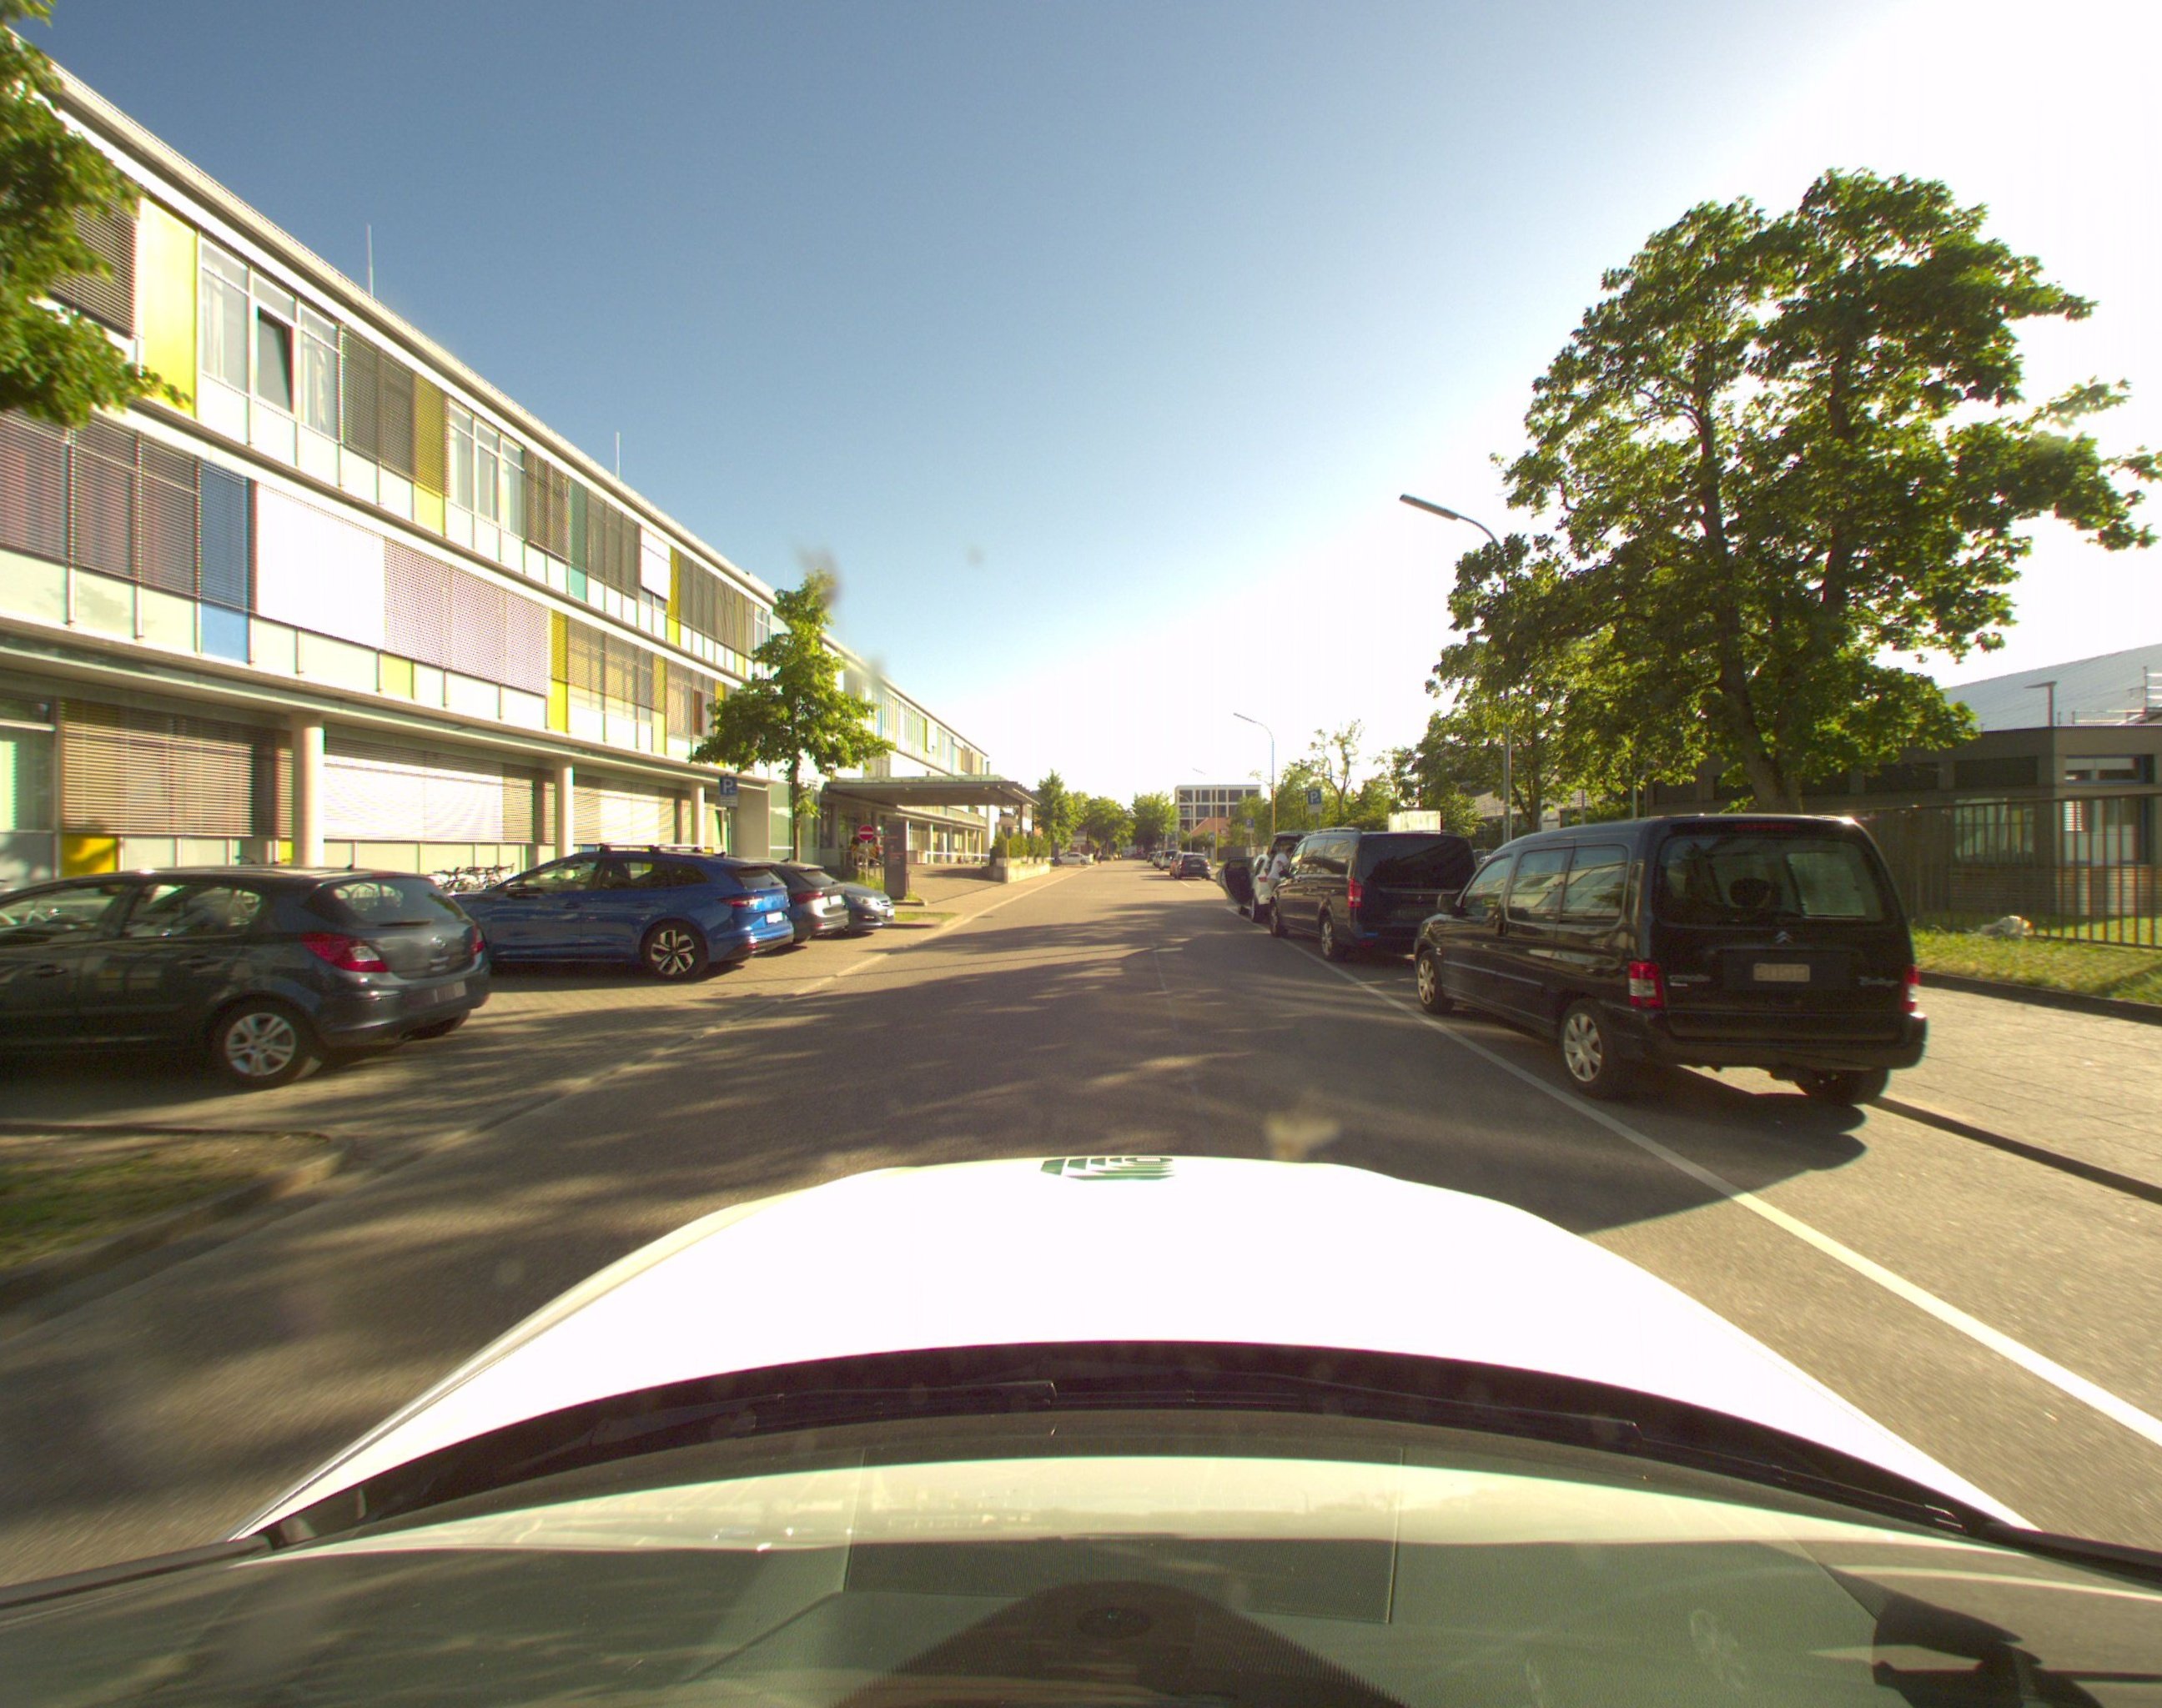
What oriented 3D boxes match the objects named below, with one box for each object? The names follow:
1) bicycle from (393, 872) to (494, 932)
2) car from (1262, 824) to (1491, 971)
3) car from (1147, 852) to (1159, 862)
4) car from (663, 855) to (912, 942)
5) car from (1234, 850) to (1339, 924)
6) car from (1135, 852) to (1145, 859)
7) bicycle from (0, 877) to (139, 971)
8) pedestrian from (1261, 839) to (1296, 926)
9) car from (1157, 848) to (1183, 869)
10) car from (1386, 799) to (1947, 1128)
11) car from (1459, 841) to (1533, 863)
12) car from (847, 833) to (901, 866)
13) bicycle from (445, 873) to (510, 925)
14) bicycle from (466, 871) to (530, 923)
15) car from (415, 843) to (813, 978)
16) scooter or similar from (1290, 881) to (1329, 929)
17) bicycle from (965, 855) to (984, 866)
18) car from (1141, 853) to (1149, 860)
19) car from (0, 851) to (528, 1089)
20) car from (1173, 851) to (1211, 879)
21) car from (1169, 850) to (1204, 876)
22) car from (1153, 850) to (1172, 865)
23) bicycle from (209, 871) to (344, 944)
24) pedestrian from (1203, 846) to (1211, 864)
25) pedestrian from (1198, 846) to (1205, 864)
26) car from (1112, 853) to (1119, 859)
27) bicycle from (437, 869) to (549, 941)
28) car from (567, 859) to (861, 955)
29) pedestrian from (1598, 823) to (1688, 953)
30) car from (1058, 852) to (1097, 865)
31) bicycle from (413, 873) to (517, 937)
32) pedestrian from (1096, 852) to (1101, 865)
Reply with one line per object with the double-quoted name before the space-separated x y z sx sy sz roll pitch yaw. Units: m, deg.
"bicycle" -12.093 0.885 15.524 0.445 1.015 1.781 -1 0 2
"car" 4.405 0.552 13.107 1.858 1.869 5.022 1 0 0
"car" 10.498 0.412 119.009 1.809 1.453 4.219 -1 0 4
"car" -5.572 0.815 15.808 4.115 1.466 1.754 -2 0 1
"car" 4.706 0.678 19.171 1.657 1.513 4.118 1 0 4
"car" 12.342 0.326 170.336 1.760 1.548 4.068 -1 0 2
"bicycle" -13.493 0.884 10.432 0.644 1.096 1.857 -1 0 2
"pedestrian" 4.072 0.573 16.762 0.583 1.745 0.708 1 0 21
"car" 7.449 0.364 68.422 1.802 1.722 4.707 1 0 2
"car" 4.065 0.597 6.695 1.694 1.794 4.298 1 0 3
"car" 26.563 -0.148 52.219 3.876 1.379 1.675 -1 0 0
"car" -12.676 -0.292 50.159 1.911 1.891 4.715 -1 0 3
"bicycle" -12.719 0.926 17.201 0.351 1.022 1.396 -1 0 -2
"bicycle" -12.291 0.887 17.205 0.351 1.022 1.396 -1 0 -2
"car" -6.052 0.688 10.979 4.206 1.651 1.960 0 0 0
"scooter or similar" 4.645 1.029 16.534 0.685 0.906 0.708 1 0 21
"bicycle" -9.903 0.618 75.877 1.708 0.994 0.536 -1 0 2
"car" 16.423 0.615 209.214 1.942 1.578 3.841 0 0 4
"car" -6.678 0.763 6.100 3.734 1.488 1.776 1 -1 -5
"car" 6.262 0.607 46.294 1.694 1.487 4.218 1 0 2
"car" 6.708 0.542 52.068 1.802 1.510 4.725 1 0 2
"car" 9.092 0.333 91.268 1.806 1.588 4.264 1 0 2
"bicycle" -13.970 0.898 14.221 0.445 1.136 1.857 -1 0 2
"pedestrian" 11.859 0.097 76.741 0.679 1.611 0.541 1 -1 1
"pedestrian" 11.462 0.136 77.446 0.519 1.708 0.522 1 -1 1
"car" 9.314 0.575 220.190 1.760 1.487 4.002 -1 0 2
"bicycle" -10.405 0.867 14.492 0.633 1.142 1.781 -1 0 2
"car" -5.821 0.808 13.267 3.973 1.437 1.731 0 0 0
"pedestrian" 7.837 0.460 11.390 0.688 1.728 0.776 -2 0 2
"car" -0.412 0.491 94.219 4.500 1.367 1.699 2 0 -2
"bicycle" -10.945 0.872 14.543 0.425 1.015 1.781 -1 0 2
"pedestrian" 2.046 0.493 96.169 0.536 1.524 0.608 -1 0 4
